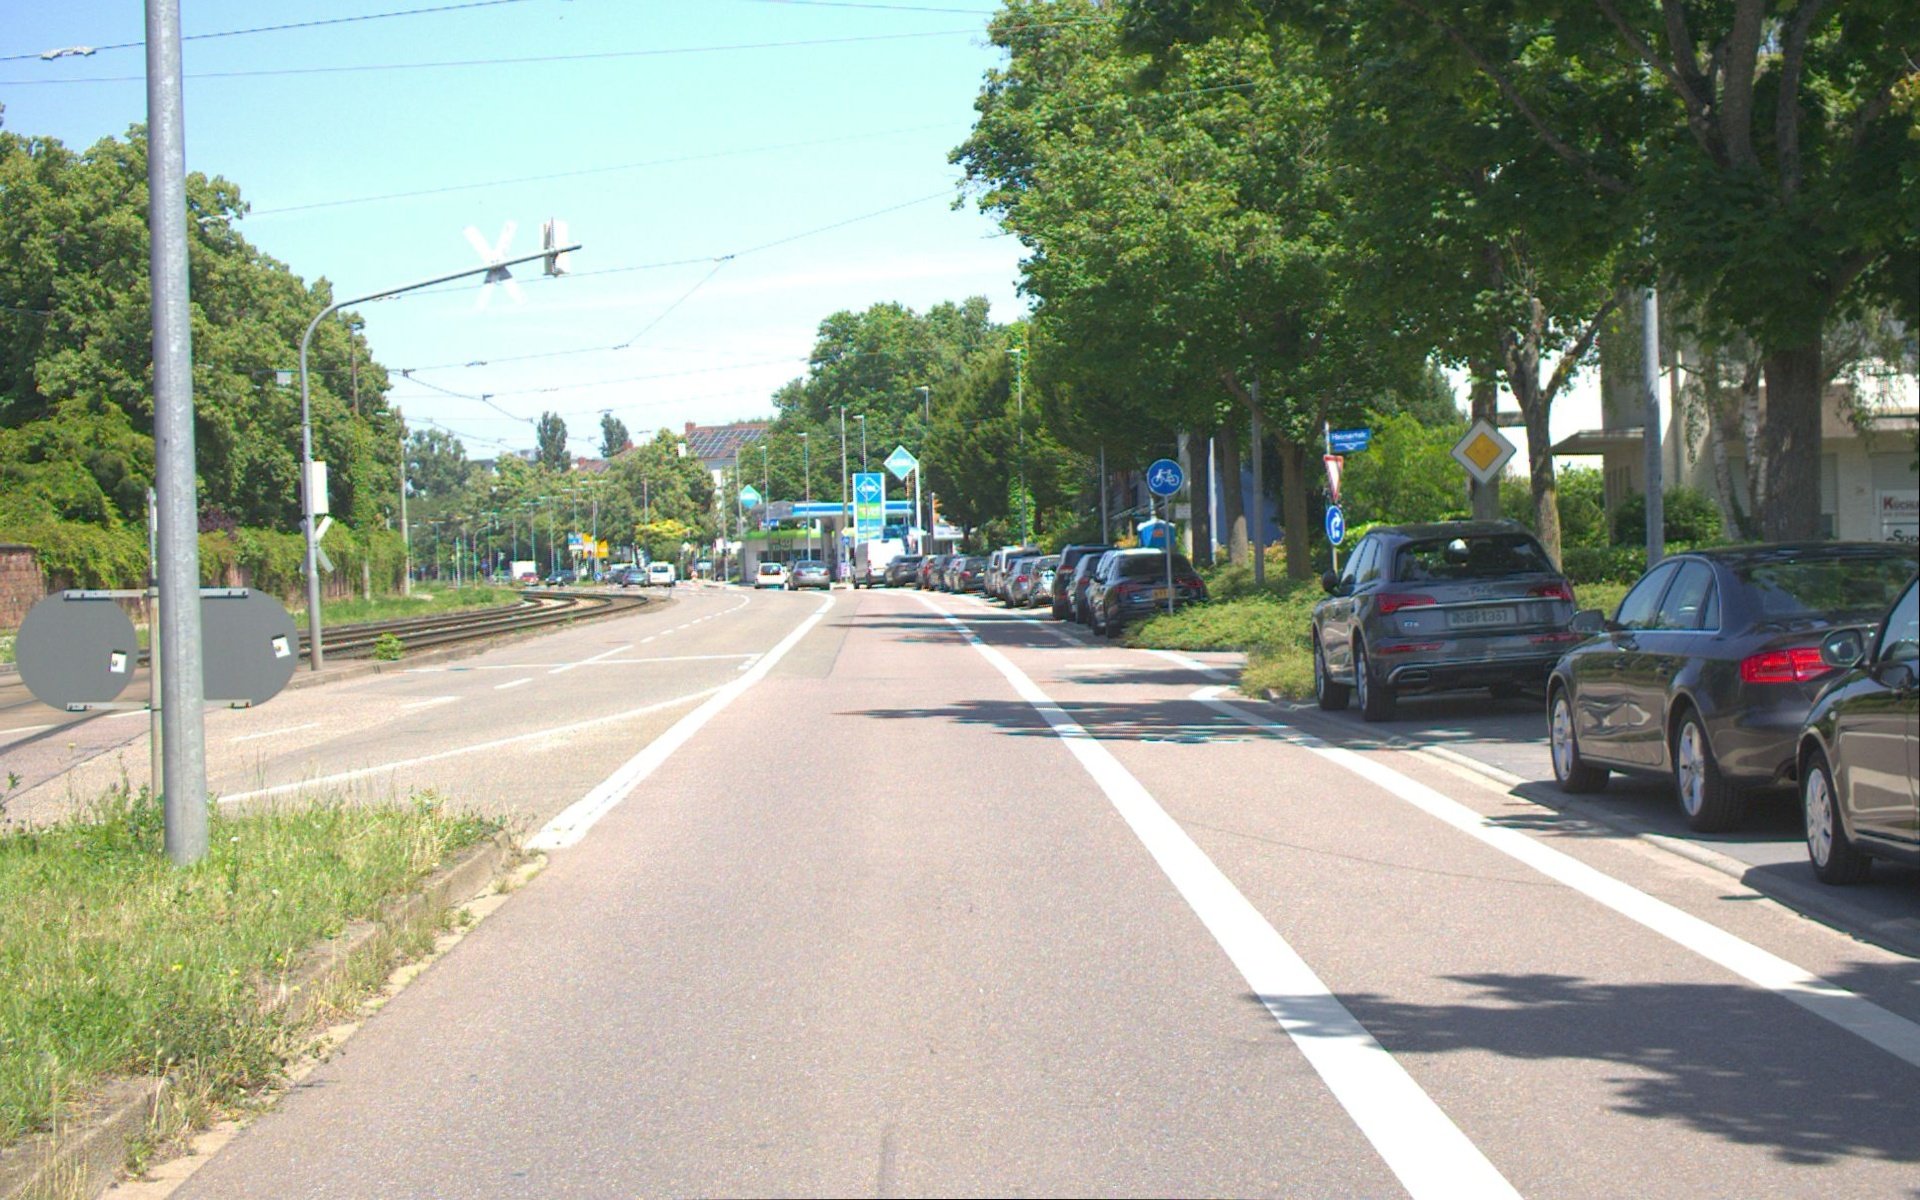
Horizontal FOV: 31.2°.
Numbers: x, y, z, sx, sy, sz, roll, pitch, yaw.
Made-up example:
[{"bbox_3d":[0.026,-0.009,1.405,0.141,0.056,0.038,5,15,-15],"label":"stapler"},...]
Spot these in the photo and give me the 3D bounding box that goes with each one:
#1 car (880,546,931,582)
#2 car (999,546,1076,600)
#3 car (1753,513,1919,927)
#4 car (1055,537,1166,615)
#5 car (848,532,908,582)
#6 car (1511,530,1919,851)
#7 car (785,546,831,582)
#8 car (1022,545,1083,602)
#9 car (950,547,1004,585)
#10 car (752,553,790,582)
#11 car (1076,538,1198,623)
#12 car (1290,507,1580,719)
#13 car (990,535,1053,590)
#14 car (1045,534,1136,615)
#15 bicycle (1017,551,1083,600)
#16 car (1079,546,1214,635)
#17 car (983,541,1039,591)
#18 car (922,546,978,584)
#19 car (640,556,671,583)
[{"bbox_3d":[-2.738,-1.790,171.660,1.755,1.625,4.325,-4,1,-10],"label":"car"},{"bbox_3d":[2.377,-0.860,106.639,1.840,1.524,4.967,-4,1,-4],"label":"car"},{"bbox_3d":[4.452,0.409,13.564,1.712,1.535,3.840,-4,1,1],"label":"car"},{"bbox_3d":[3.210,-0.538,74.083,1.840,1.524,4.354,-4,1,-3],"label":"car"},{"bbox_3d":[-4.356,-2.253,181.750,2.000,2.448,6.111,-4,1,-11],"label":"car"},{"bbox_3d":[4.370,0.382,18.592,1.712,1.413,4.709,-4,1,-3],"label":"car"},{"bbox_3d":[-7.330,-1.730,165.743,1.755,1.625,4.325,-4,1,-8],"label":"car"},{"bbox_3d":[2.718,-0.800,101.636,1.519,1.524,3.817,-4,1,-1],"label":"car"},{"bbox_3d":[0.679,-1.445,144.636,1.706,1.487,5.039,-4,1,-5],"label":"car"},{"bbox_3d":[-11.356,-1.947,206.277,1.755,1.625,4.325,-4,1,-9],"label":"car"},{"bbox_3d":[3.492,-0.411,68.520,1.840,1.524,4.206,-4,1,-4],"label":"car"},{"bbox_3d":[4.112,0.095,30.486,1.712,1.627,4.709,-4,0,-1],"label":"car"},{"bbox_3d":[2.164,-1.333,121.613,1.840,1.788,4.354,-4,1,-3],"label":"car"},{"bbox_3d":[3.000,-0.624,79.717,1.840,1.700,4.626,-4,1,0],"label":"car"},{"bbox_3d":[2.611,-0.703,99.597,1.774,1.224,0.683,-6,0,3],"label":"bicycle"},{"bbox_3d":[3.330,-0.205,62.119,1.840,1.431,4.825,-4,1,-3],"label":"car"},{"bbox_3d":[1.883,-1.283,127.796,1.840,1.688,4.779,-4,1,-1],"label":"car"},{"bbox_3d":[-0.453,-1.589,155.801,1.706,1.557,4.325,-4,1,-10],"label":"car"},{"bbox_3d":[-22.638,-2.281,255.298,1.755,1.868,4.325,-4,1,-10],"label":"car"}]
